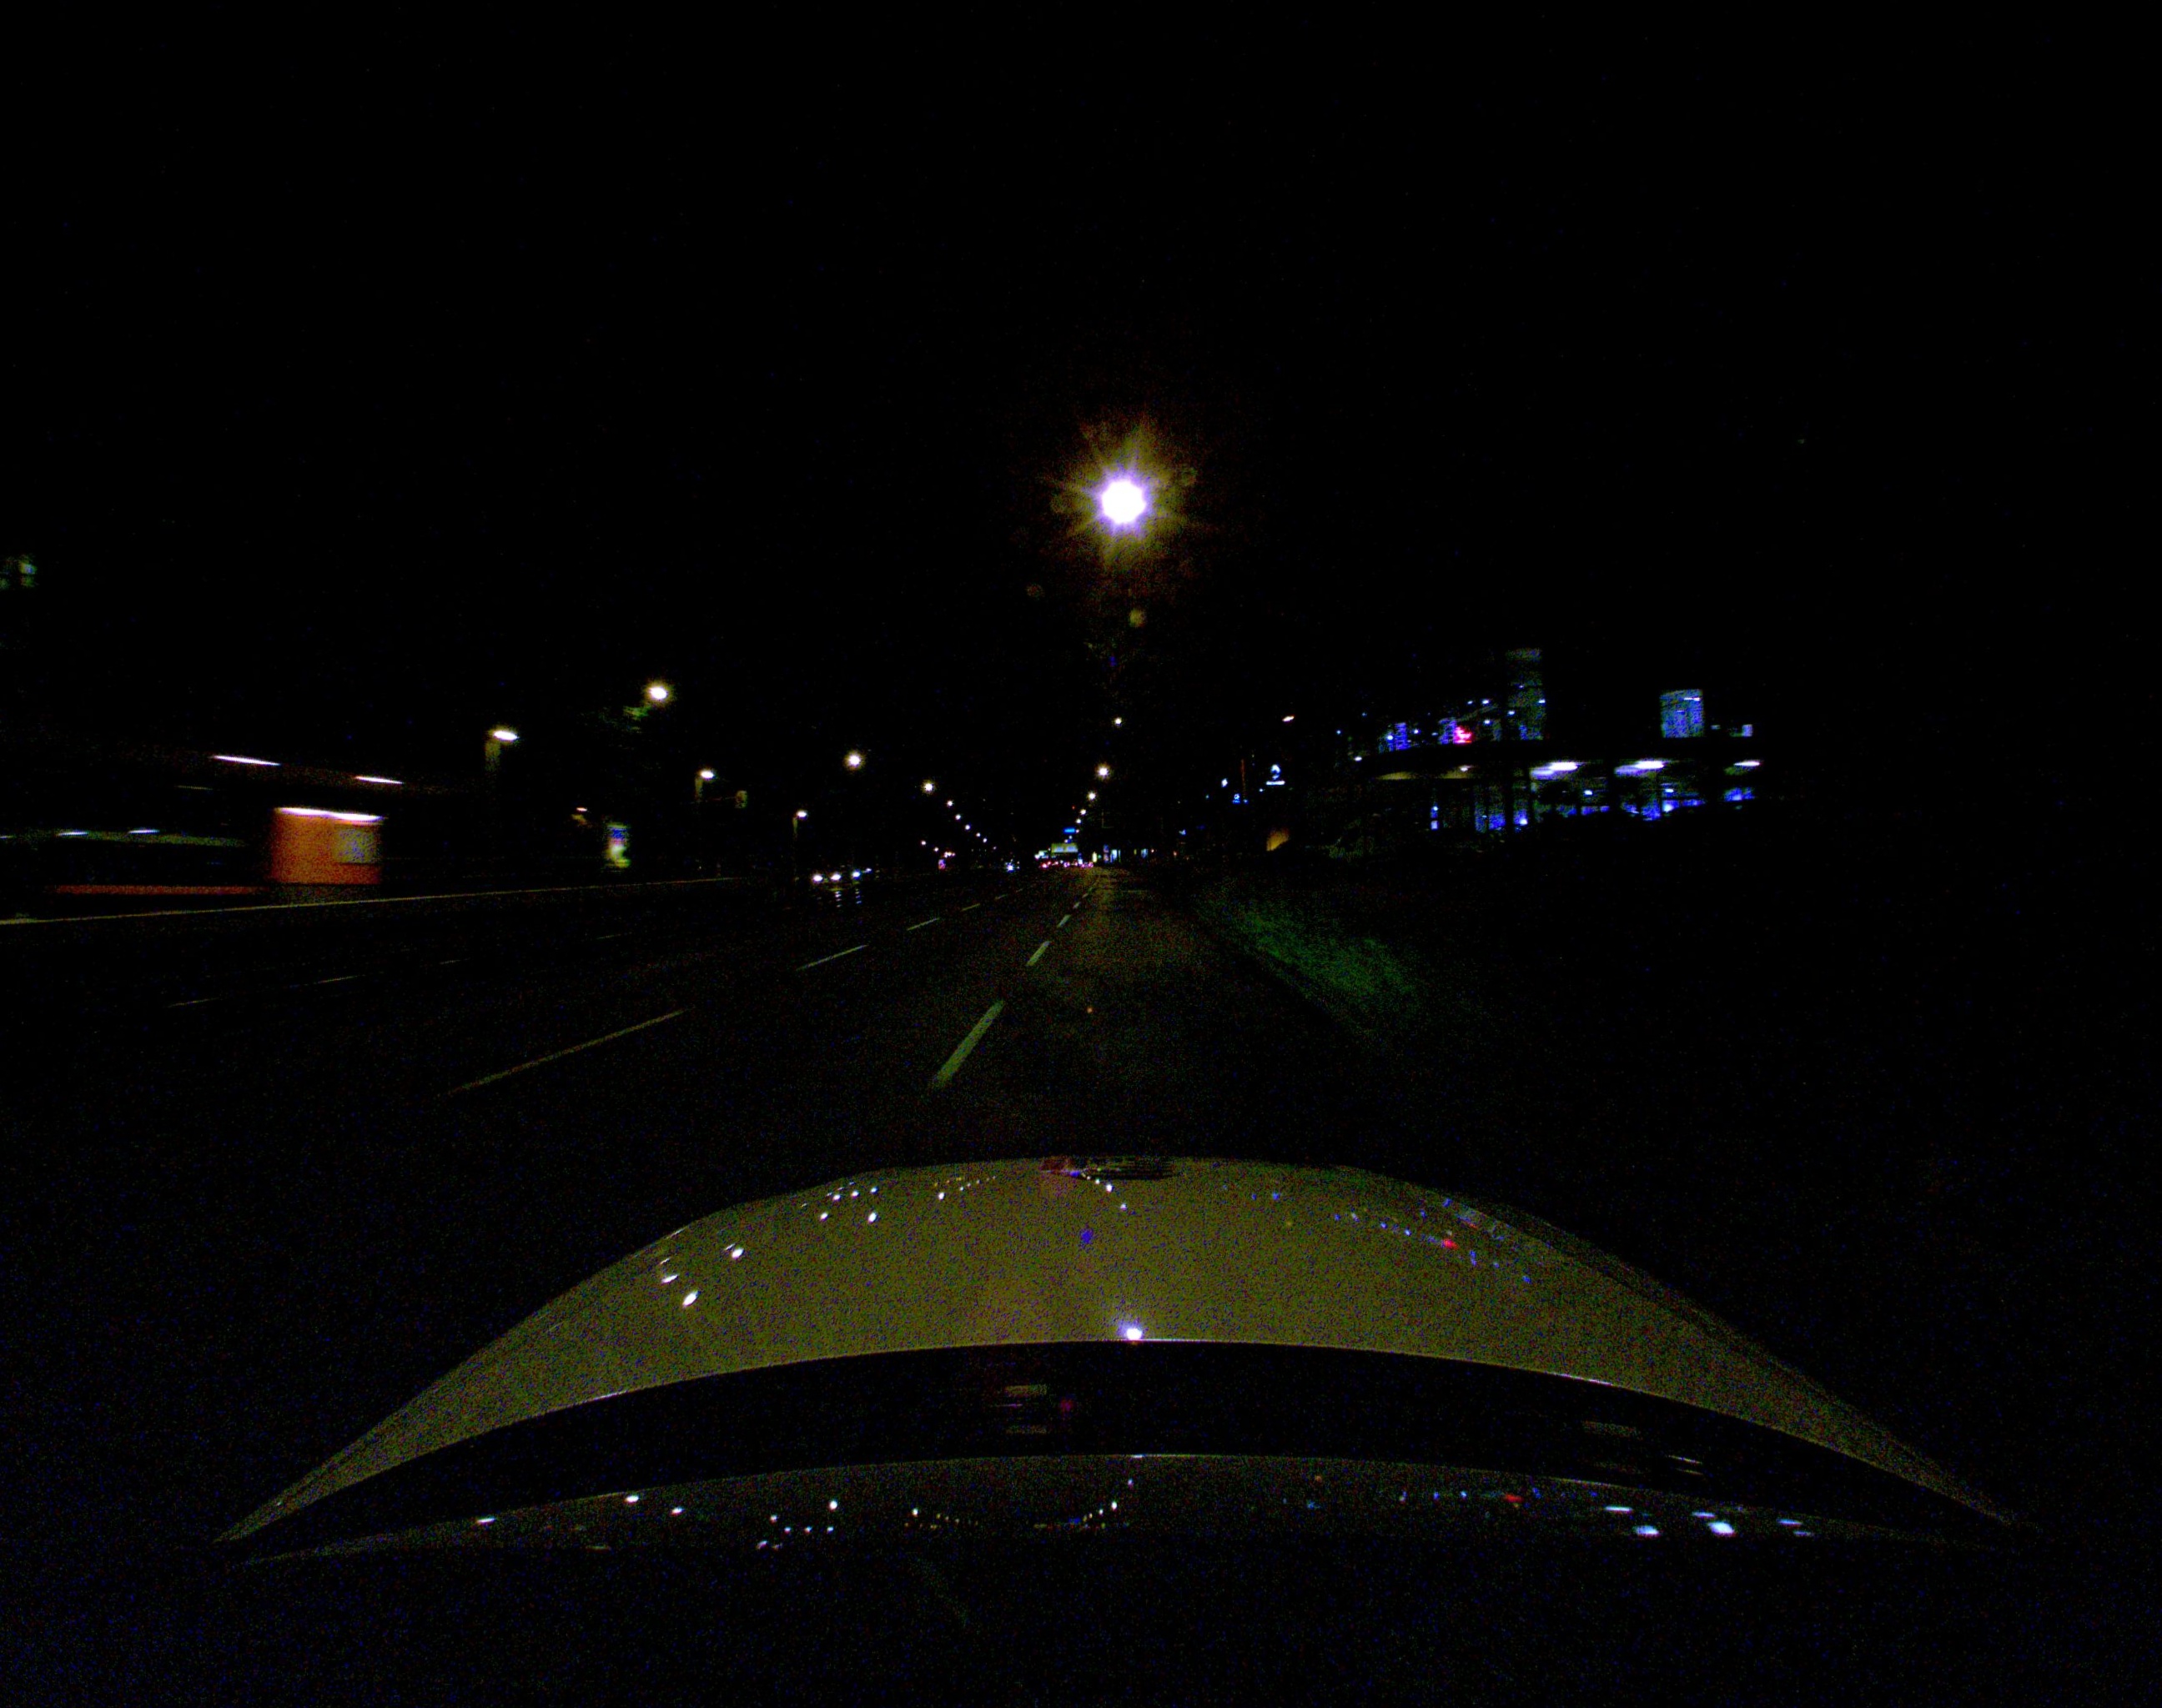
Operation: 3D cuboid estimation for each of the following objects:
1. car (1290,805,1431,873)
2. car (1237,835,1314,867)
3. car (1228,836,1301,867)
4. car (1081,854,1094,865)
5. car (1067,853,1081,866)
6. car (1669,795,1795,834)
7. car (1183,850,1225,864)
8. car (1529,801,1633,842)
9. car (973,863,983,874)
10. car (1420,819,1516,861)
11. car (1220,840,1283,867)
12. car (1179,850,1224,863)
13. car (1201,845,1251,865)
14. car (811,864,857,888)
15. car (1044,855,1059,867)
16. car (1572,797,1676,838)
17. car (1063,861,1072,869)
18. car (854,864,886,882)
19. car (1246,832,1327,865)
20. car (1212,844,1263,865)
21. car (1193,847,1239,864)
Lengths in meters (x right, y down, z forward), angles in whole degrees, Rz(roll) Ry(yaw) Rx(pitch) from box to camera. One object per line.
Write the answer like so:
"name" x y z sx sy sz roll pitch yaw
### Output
"car" 13.405 -0.734 39.128 6.031 2.529 2.271 -7 1 -16
"car" 12.889 -0.188 54.099 4.461 1.810 1.993 -4 0 -10
"car" 12.756 -0.179 56.768 4.461 1.687 1.993 -6 0 -10
"car" 1.304 1.143 159.692 2.419 2.113 4.826 -1 -1 1
"car" -1.147 0.974 142.292 2.348 2.129 4.826 -1 -1 1
"car" 33.371 -1.992 41.913 2.001 1.662 4.634 -1 -1 -21
"car" 13.189 0.325 87.115 3.996 1.424 1.898 -2 0 -17
"car" 24.473 -1.539 40.019 1.801 1.577 3.939 -7 1 -21
"car" -28.668 3.981 226.367 2.147 2.671 6.934 -4 -1 -11
"car" 18.495 -0.655 39.120 1.812 1.712 3.939 -4 0 -21
"car" 12.474 -0.046 59.654 4.081 1.568 1.848 -6 0 -10
"car" 13.319 0.306 89.838 4.651 1.264 1.932 -2 0 -24
"car" 13.101 0.105 73.529 4.031 1.373 1.816 -6 0 -15
"car" -16.658 1.472 55.183 1.778 1.497 4.174 -1 -2 0
"car" -5.119 1.211 141.563 2.255 2.014 4.826 -1 -1 1
"car" 27.236 -1.815 40.968 1.784 1.601 3.939 -7 1 -21
"car" -3.014 2.495 185.759 1.880 1.860 4.000 -1 -1 1
"car" -18.725 1.634 72.389 1.653 1.516 3.913 -1 -1 3
"car" 12.300 -0.309 48.939 4.203 1.663 1.954 -5 0 -10
"car" 13.129 0.077 68.356 3.806 1.453 1.710 -5 0 -13
"car" 13.133 0.123 78.974 4.003 1.391 1.813 -4 1 -22
